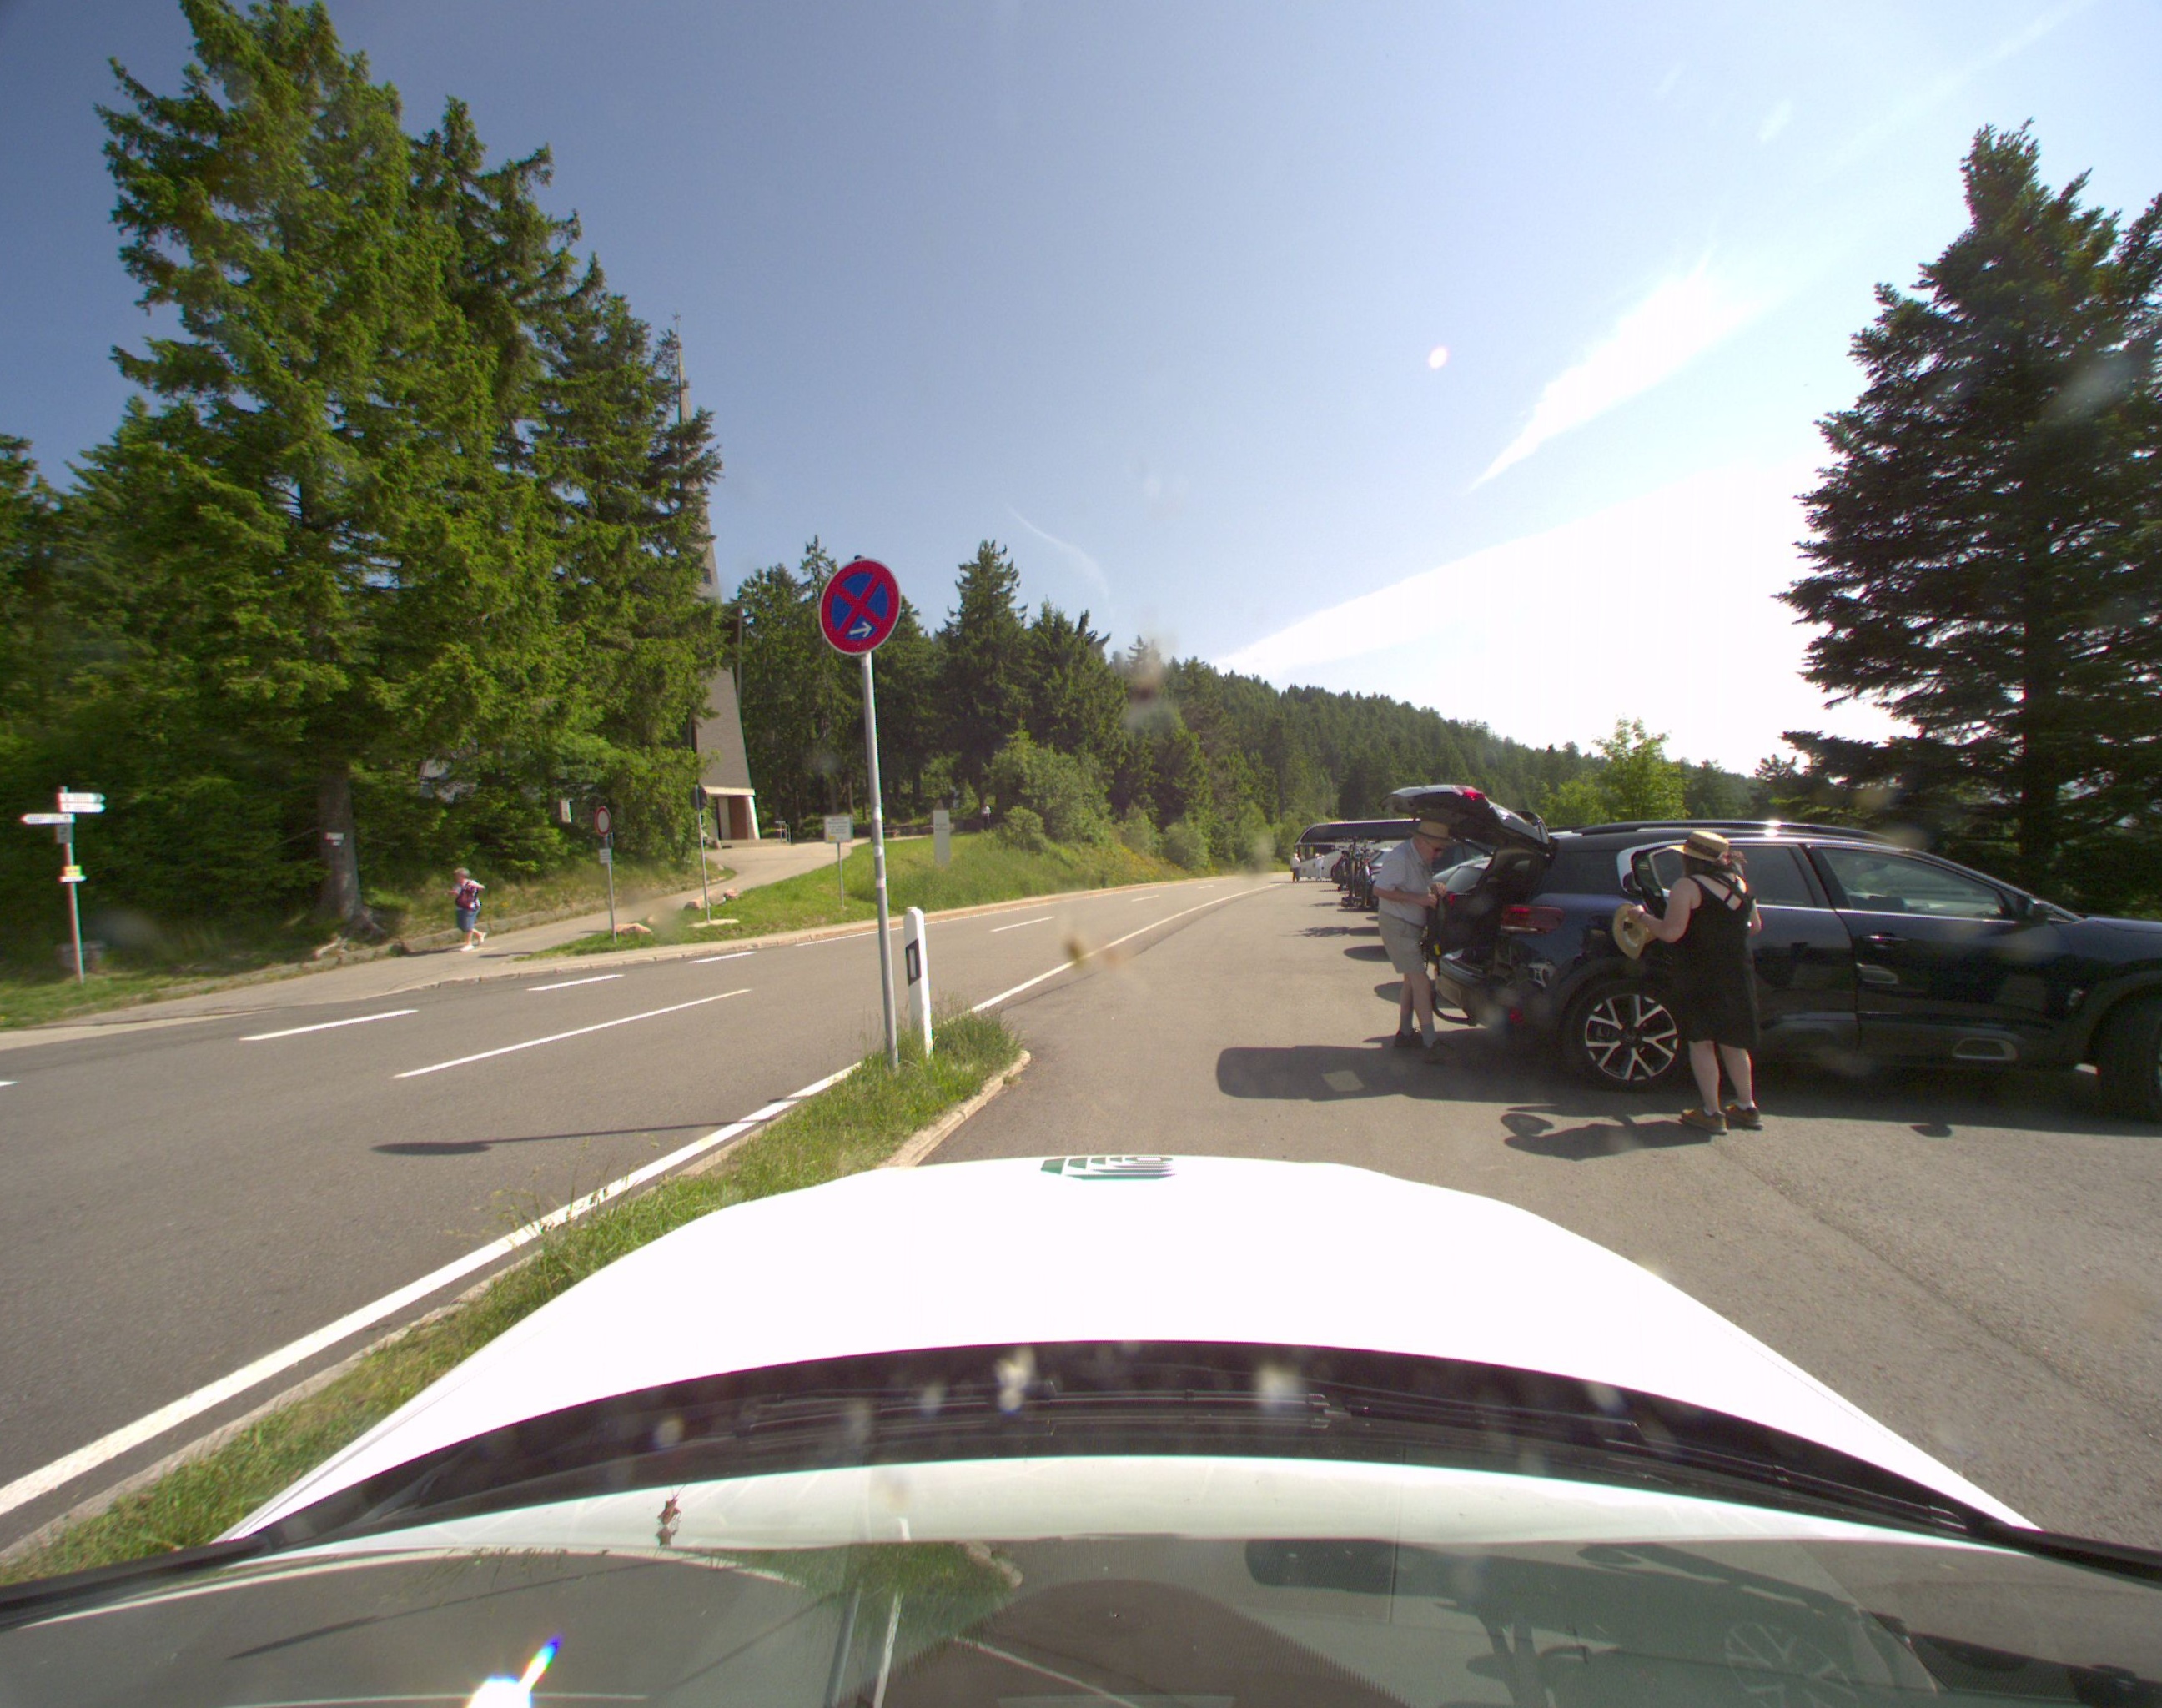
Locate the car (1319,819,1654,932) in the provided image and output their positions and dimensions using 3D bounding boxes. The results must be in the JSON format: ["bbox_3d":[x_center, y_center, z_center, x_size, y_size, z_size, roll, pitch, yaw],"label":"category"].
[{"bbox_3d":[6.792,0.396,14.260,4.909,1.695,1.954,-2,-1,18],"label":"car"}]

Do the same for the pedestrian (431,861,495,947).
[{"bbox_3d":[-12.736,1.014,16.790,0.715,1.681,0.684,-3,-1,9],"label":"pedestrian"}]

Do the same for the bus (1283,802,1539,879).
[{"bbox_3d":[18.457,-0.650,46.312,12.971,3.532,3.062,-3,-1,26],"label":"bus"}]

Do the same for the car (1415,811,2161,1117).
[{"bbox_3d":[4.769,0.592,5.556,4.316,1.626,1.875,1,-1,11],"label":"car"}]

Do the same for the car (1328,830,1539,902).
[{"bbox_3d":[9.417,0.333,22.247,4.995,1.651,2.057,-3,-1,16],"label":"car"}]

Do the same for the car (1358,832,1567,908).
[{"bbox_3d":[8.900,0.393,19.411,4.211,1.554,1.846,-3,-1,16],"label":"car"}]

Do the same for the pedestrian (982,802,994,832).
[{"bbox_3d":[-5.947,-2.380,52.131,0.538,1.878,0.683,-3,-1,3],"label":"pedestrian"}]

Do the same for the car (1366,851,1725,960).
[{"bbox_3d":[6.274,0.653,11.458,4.056,1.376,1.707,0,0,10],"label":"car"}]

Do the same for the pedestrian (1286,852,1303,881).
[{"bbox_3d":[12.289,0.709,46.914,0.763,1.585,0.777,-3,-1,23],"label":"pedestrian"}]

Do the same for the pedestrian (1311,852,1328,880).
[{"bbox_3d":[13.622,0.685,46.447,0.763,1.585,0.777,-3,-1,23],"label":"pedestrian"}]

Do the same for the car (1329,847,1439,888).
[{"bbox_3d":[12.021,0.533,32.588,3.956,1.449,1.869,-3,-1,16],"label":"car"}]

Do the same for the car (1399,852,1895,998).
[{"bbox_3d":[5.748,0.677,8.745,4.059,1.376,1.706,0,0,7],"label":"car"}]

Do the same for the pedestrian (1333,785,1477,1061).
[{"bbox_3d":[2.401,0.450,6.034,0.762,1.870,0.728,-3,3,-44],"label":"pedestrian"}]

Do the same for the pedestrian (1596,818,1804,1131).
[{"bbox_3d":[3.370,0.624,4.484,0.711,1.613,0.537,0,-1,3],"label":"pedestrian"}]
